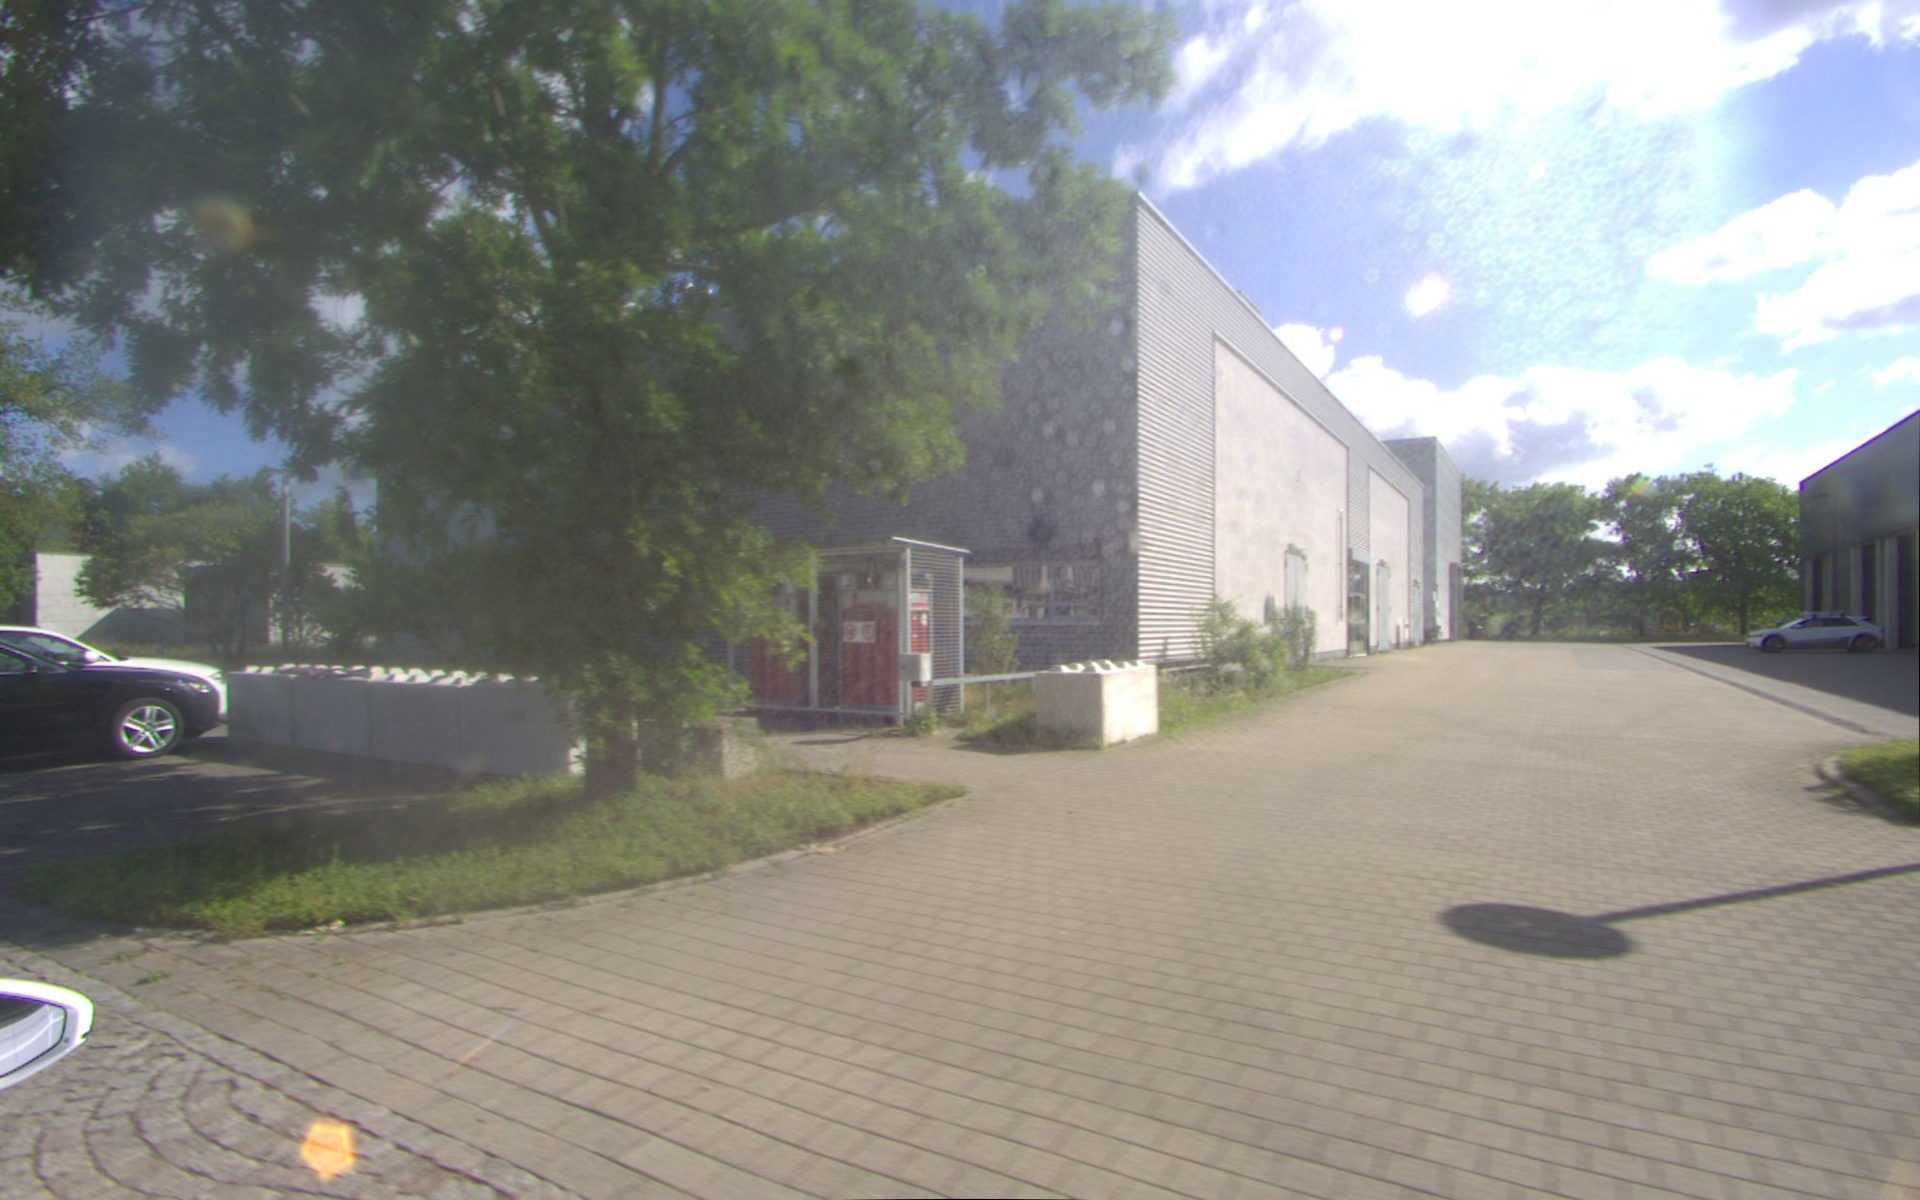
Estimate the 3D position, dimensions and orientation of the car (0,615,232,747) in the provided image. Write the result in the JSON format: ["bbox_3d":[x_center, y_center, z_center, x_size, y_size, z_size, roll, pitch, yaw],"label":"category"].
[{"bbox_3d":[-11.651,0.972,12.256,1.669,1.479,4.123,-1,0,36],"label":"car"}]

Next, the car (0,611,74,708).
[{"bbox_3d":[-15.986,0.941,14.877,1.730,1.466,3.904,-1,0,32],"label":"car"}]

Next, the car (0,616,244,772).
[{"bbox_3d":[-10.038,0.932,9.725,1.731,1.442,4.711,-1,0,30],"label":"car"}]

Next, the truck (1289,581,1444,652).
[{"bbox_3d":[23.512,1.000,58.135,7.988,3.867,2.637,-1,-1,32],"label":"truck"}]

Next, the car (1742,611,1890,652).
[{"bbox_3d":[36.569,1.323,42.958,4.512,1.684,1.991,-1,-1,31],"label":"car"}]

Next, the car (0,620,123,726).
[{"bbox_3d":[-13.866,1.005,13.279,1.703,1.390,3.904,-1,0,32],"label":"car"}]
